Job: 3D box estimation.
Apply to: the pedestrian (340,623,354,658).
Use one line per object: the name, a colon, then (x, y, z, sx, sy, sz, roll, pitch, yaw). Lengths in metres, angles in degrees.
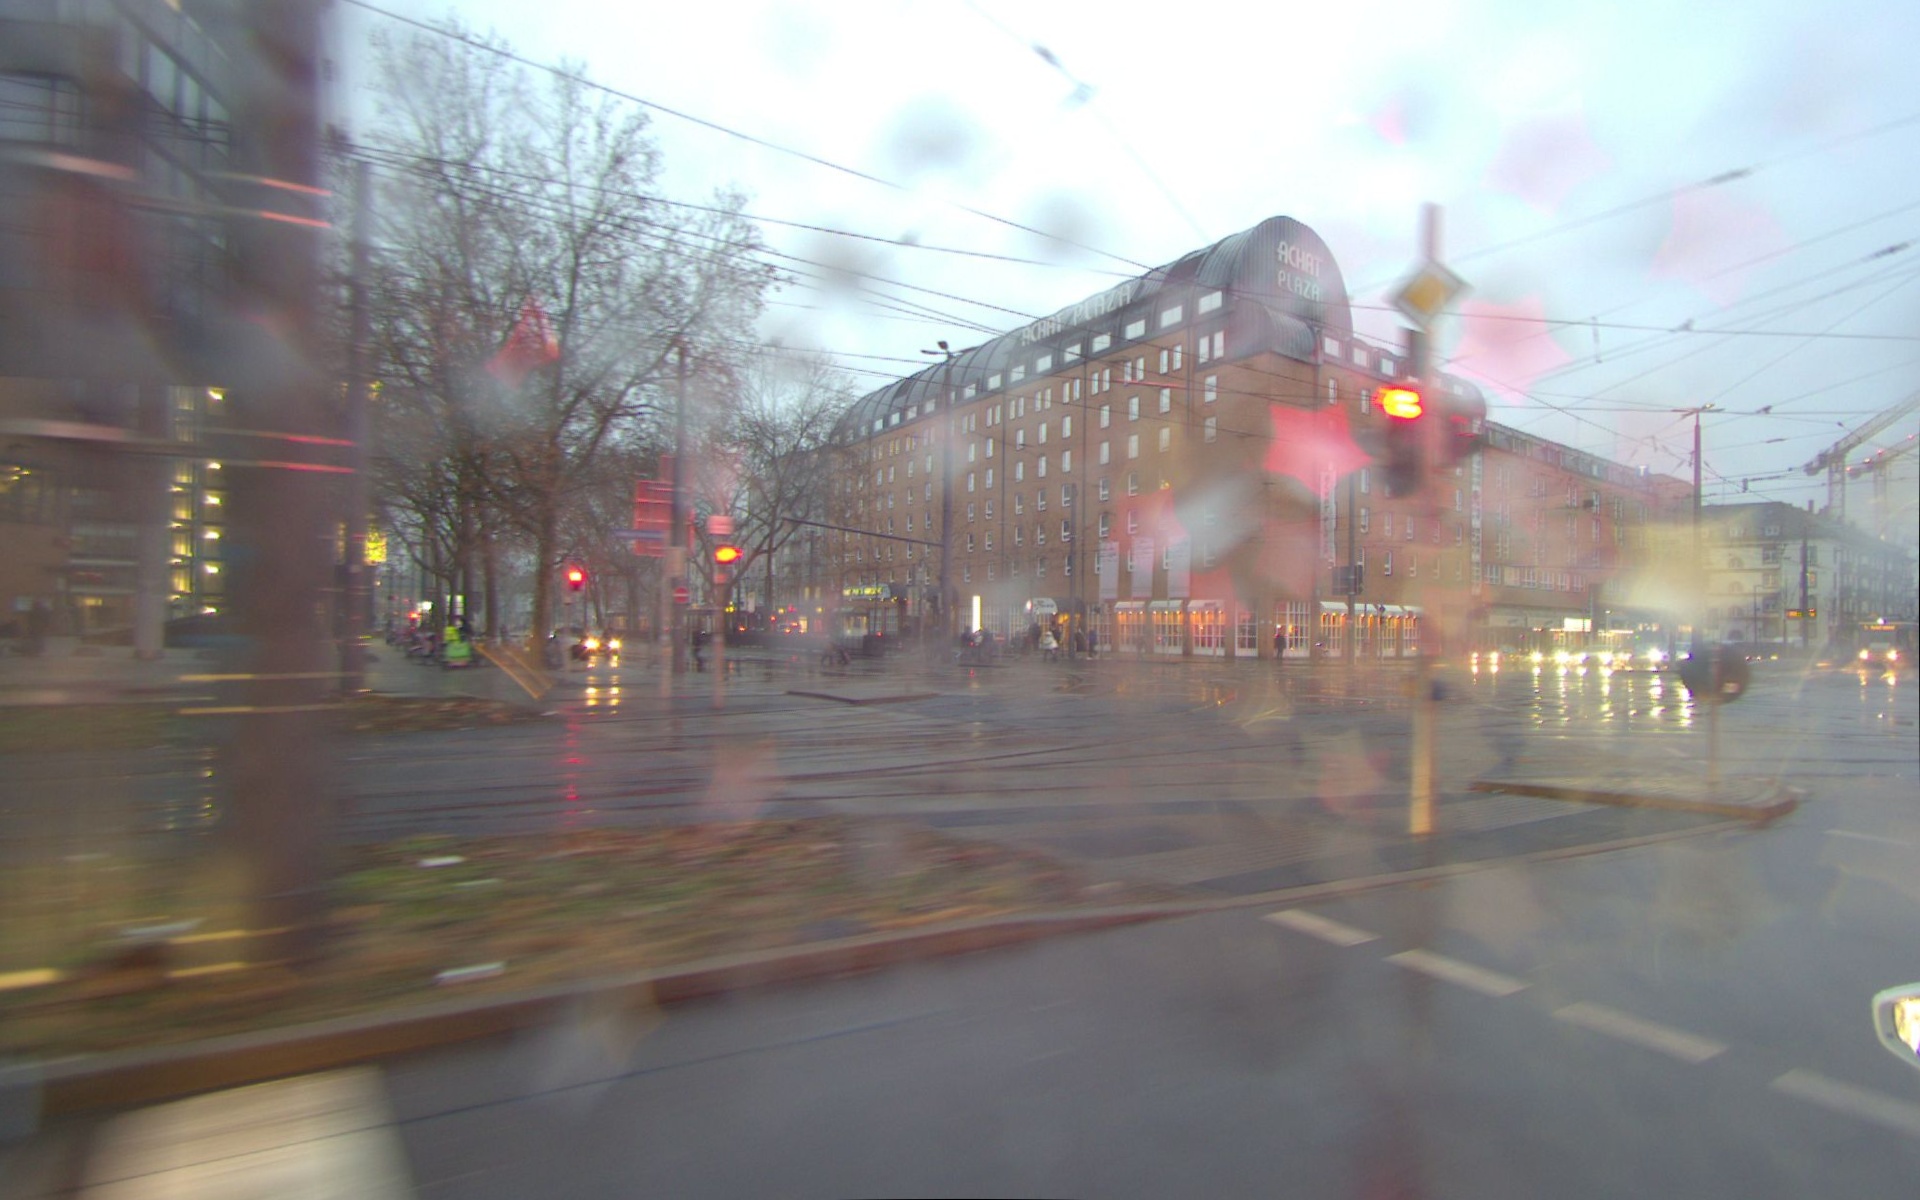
pedestrian: (-29.969, 1.971, 49.104, 0.556, 1.706, 0.592, 2, -1, -34)

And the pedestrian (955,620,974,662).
pedestrian: (0.201, 2.008, 49.300, 0.746, 2.040, 0.798, 1, -2, -14)

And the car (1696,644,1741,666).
car: (50.110, 3.628, 66.330, 3.518, 1.372, 1.667, 3, -1, -41)

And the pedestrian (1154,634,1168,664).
pedestrian: (10.594, 2.576, 52.956, 0.566, 1.558, 0.517, 1, -1, -21)

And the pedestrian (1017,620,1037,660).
pedestrian: (3.521, 2.106, 52.971, 0.700, 2.040, 0.752, 2, -2, -35)

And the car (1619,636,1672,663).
car: (46.459, 3.310, 68.012, 4.668, 1.732, 1.813, 2, -2, -41)

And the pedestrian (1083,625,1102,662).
pedestrian: (7.292, 2.391, 55.370, 0.750, 2.040, 0.702, 2, -2, -29)

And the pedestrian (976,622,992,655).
pedestrian: (1.540, 2.466, 64.268, 0.712, 2.040, 0.740, 2, -2, -32)

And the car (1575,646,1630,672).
car: (39.704, 3.603, 62.048, 4.165, 1.515, 1.655, 2, -2, -39)

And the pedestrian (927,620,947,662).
pedestrian: (-1.155, 2.049, 49.937, 0.762, 2.040, 0.708, 0, -2, 18)

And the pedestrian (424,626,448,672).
pedestrian: (-20.034, 1.871, 38.405, 0.551, 1.706, 0.597, 0, -1, 28)

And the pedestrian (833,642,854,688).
pedestrian: (-5.261, 2.938, 45.324, 0.749, 2.040, 0.702, 2, -2, -27)

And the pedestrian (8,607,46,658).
pedestrian: (-31.829, 1.113, 34.283, 0.683, 1.731, 0.724, 1, -2, -20)

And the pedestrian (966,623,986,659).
pedestrian: (0.865, 2.219, 54.245, 0.777, 1.925, 0.832, 2, -2, -32)

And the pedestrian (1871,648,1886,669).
pedestrian: (52.162, 3.328, 57.041, 0.486, 1.168, 0.575, 2, 0, -38)

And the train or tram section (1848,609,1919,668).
train or tram section: (63.154, 2.585, 67.782, 12.153, 3.637, 2.926, 2, 0, -40)

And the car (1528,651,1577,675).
car: (38.388, 4.067, 65.044, 3.565, 1.515, 1.569, 2, -2, -39)

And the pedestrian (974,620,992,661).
pedestrian: (1.155, 2.067, 51.463, 0.746, 2.040, 0.706, 1, -2, -14)

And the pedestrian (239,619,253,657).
pedestrian: (-33.760, 1.788, 47.508, 0.441, 1.774, 0.649, 1, -1, -29)

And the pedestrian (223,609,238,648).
pedestrian: (-34.264, 1.338, 47.198, 0.441, 1.774, 0.649, 1, -1, -29)

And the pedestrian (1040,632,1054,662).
pedestrian: (4.547, 2.446, 52.302, 0.566, 1.558, 0.517, 1, -1, -21)

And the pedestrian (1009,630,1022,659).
pedestrian: (2.989, 2.388, 54.263, 0.566, 1.558, 0.517, 1, -1, -21)

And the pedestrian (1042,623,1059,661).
pedestrian: (4.989, 2.328, 55.535, 0.746, 2.040, 0.706, 1, -2, -14)

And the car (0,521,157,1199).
car: (-3.189, 0.630, 0.775, 3.714, 1.593, 1.673, 2, -2, -29)

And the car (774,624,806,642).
car: (-18.067, 3.522, 106.626, 2.084, 1.806, 3.674, 2, -2, -31)

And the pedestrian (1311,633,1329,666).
pedestrian: (22.626, 3.095, 63.138, 0.919, 2.040, 0.758, 0, -2, 27)

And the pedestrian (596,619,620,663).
pedestrian: (-16.361, 1.902, 46.697, 0.696, 2.040, 0.756, 0, -2, 37)

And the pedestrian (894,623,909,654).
pedestrian: (-3.800, 2.494, 65.282, 0.712, 2.040, 0.740, 2, -2, -32)

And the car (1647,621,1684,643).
car: (69.821, 3.148, 99.371, 3.968, 2.040, 1.977, 2, 0, -40)

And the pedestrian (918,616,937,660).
pedestrian: (-1.547, 1.801, 47.608, 0.746, 2.040, 0.706, 1, -2, -14)

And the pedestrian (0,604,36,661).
pedestrian: (-31.628, 1.092, 33.507, 0.909, 1.870, 0.771, 1, -2, -22)

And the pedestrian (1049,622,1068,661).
pedestrian: (5.224, 2.214, 53.279, 0.746, 2.040, 0.706, 1, -2, -14)

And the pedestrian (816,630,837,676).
pedestrian: (-5.986, 2.367, 45.034, 0.749, 2.040, 0.702, 2, -2, -27)

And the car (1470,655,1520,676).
car: (37.347, 4.543, 70.052, 4.193, 1.339, 1.598, 2, -2, -40)

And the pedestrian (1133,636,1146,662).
pedestrian: (10.775, 2.954, 60.226, 0.566, 1.558, 0.517, 1, -1, -21)

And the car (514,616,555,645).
car: (-32.686, 2.316, 77.146, 1.903, 2.165, 4.033, 2, -2, -37)

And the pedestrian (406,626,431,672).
pedestrian: (-20.748, 1.867, 38.478, 0.551, 1.706, 0.597, 0, -1, 27)

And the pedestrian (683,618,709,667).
pedestrian: (-11.317, 1.814, 43.044, 0.696, 2.040, 0.756, 0, -2, 37)
